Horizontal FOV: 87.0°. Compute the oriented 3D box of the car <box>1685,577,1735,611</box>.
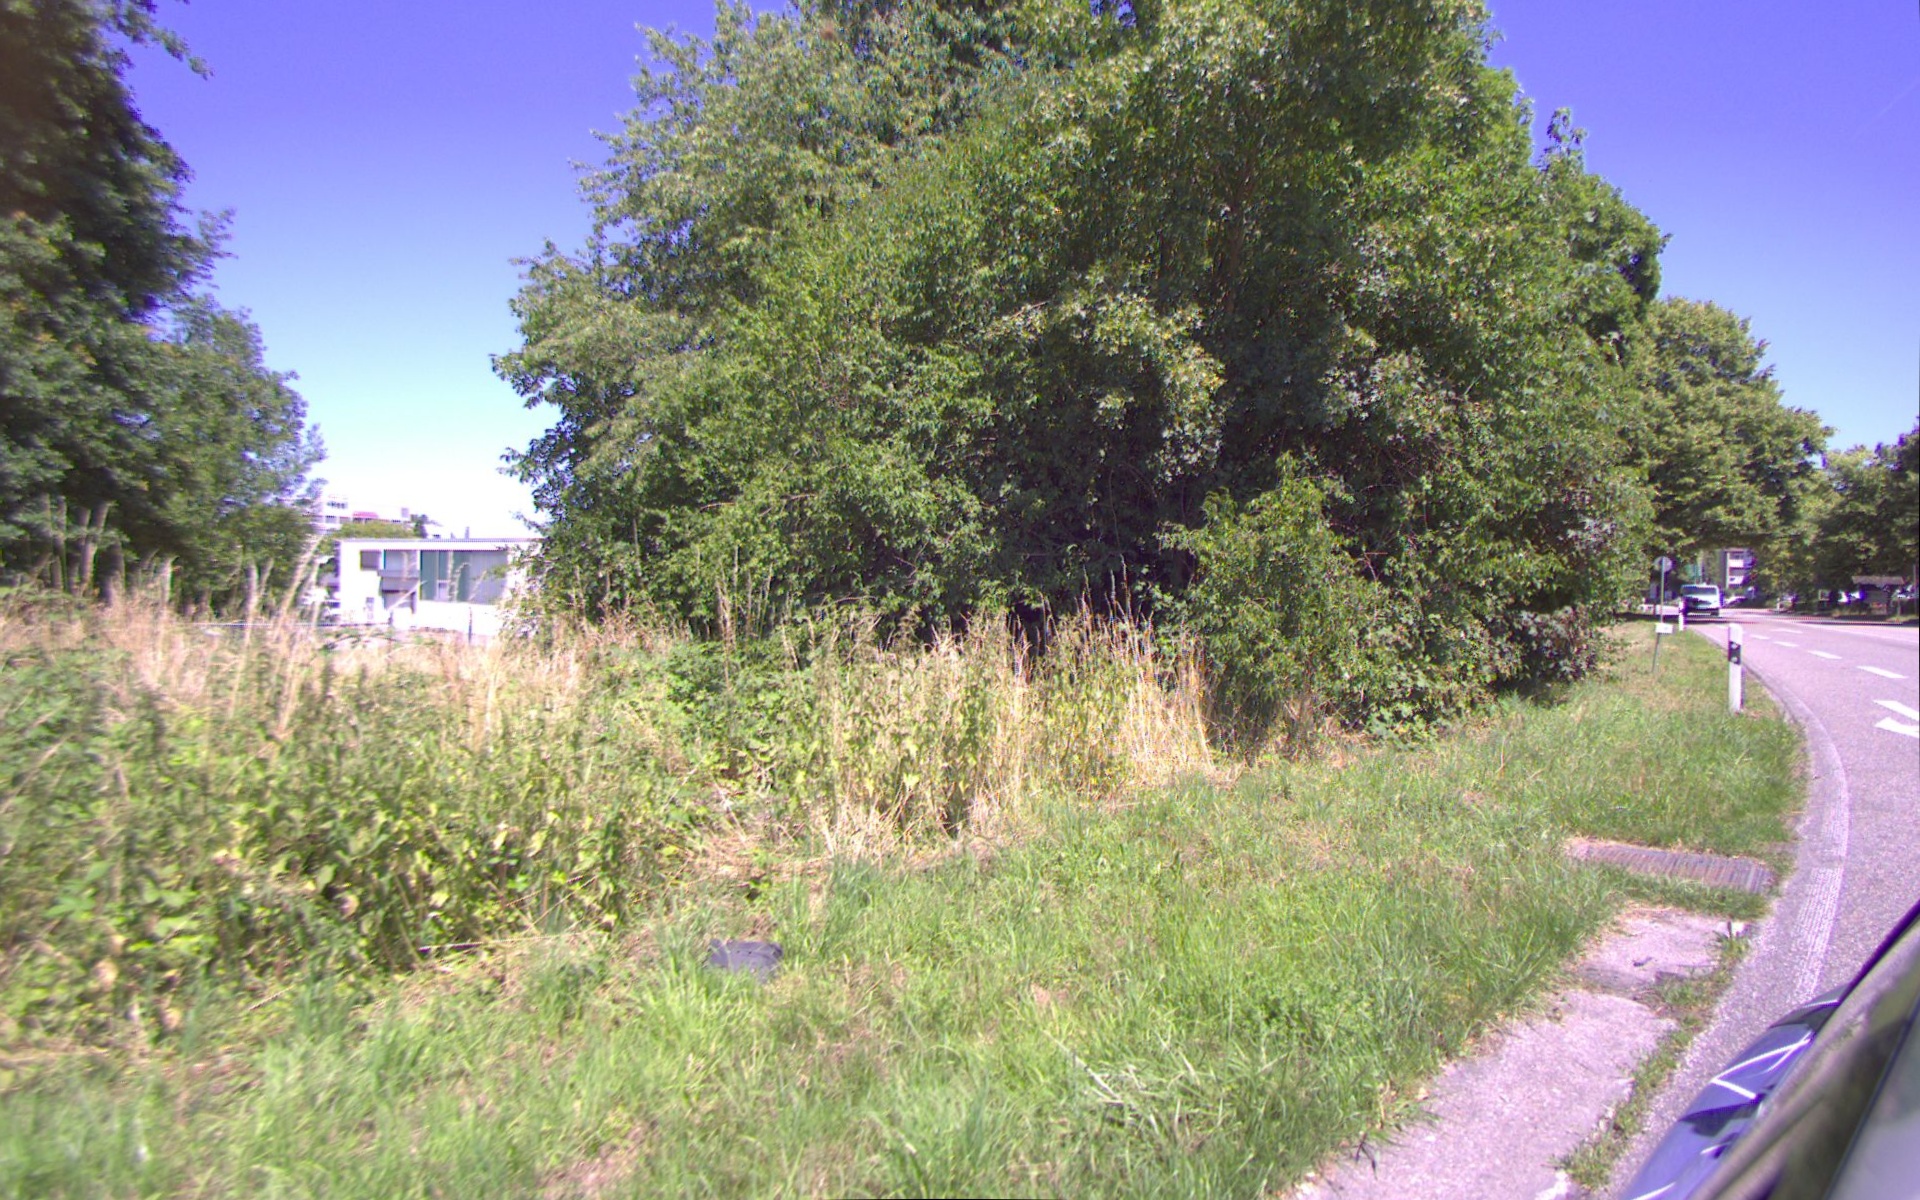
[{"bbox_3d":[47.789,-0.355,64.599,2.078,2.039,4.357,0,-1,30],"label":"car"}]

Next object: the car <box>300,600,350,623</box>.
[{"bbox_3d":[-50.250,0.887,80.045,3.969,1.682,1.834,1,1,32],"label":"car"}]
